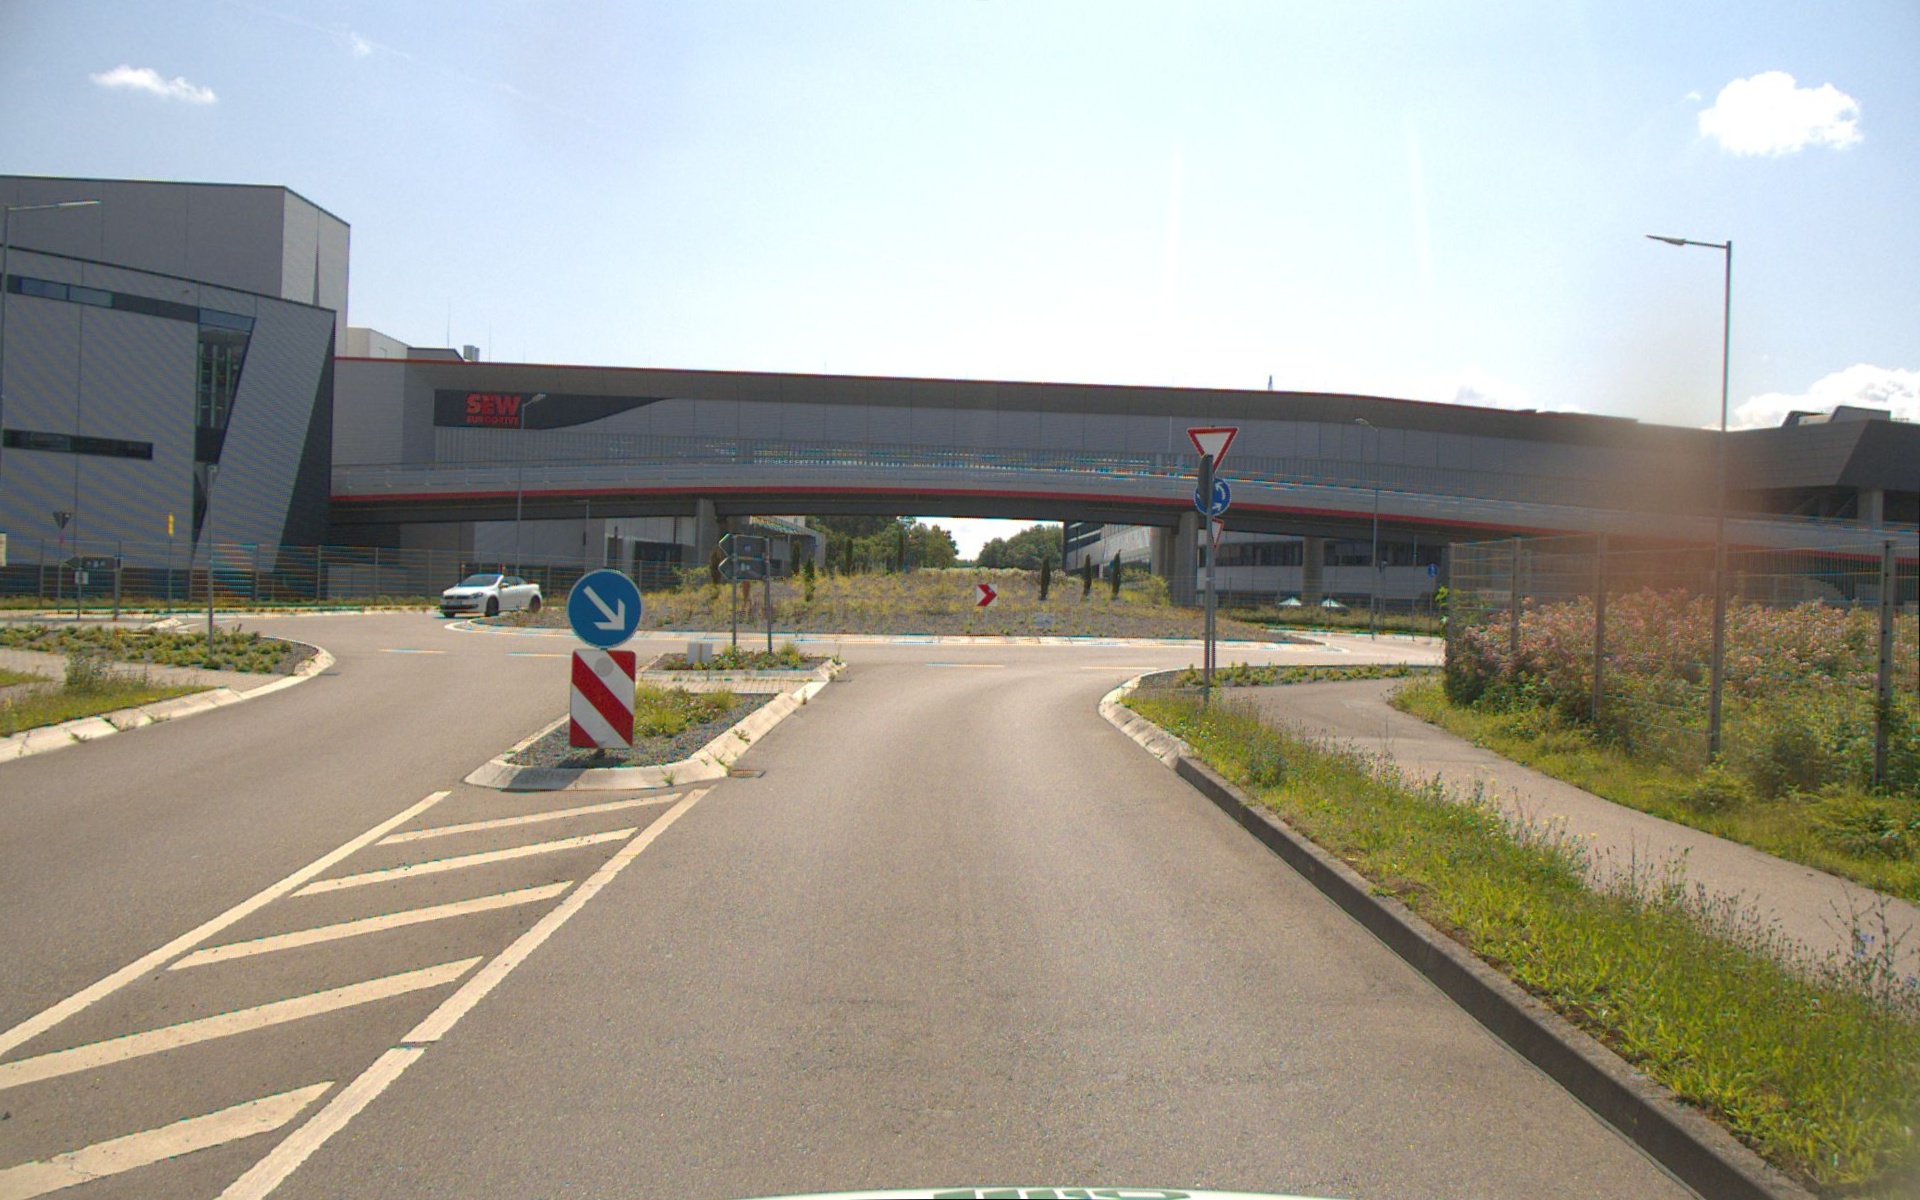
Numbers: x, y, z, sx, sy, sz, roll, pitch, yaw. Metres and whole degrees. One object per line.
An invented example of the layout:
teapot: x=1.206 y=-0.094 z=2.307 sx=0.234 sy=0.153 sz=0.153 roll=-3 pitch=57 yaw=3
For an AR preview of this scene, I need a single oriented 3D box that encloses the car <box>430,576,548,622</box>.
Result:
car: x=-15.387 y=-0.019 z=54.277 sx=1.733 sy=1.453 sz=4.053 roll=0 pitch=0 yaw=18
